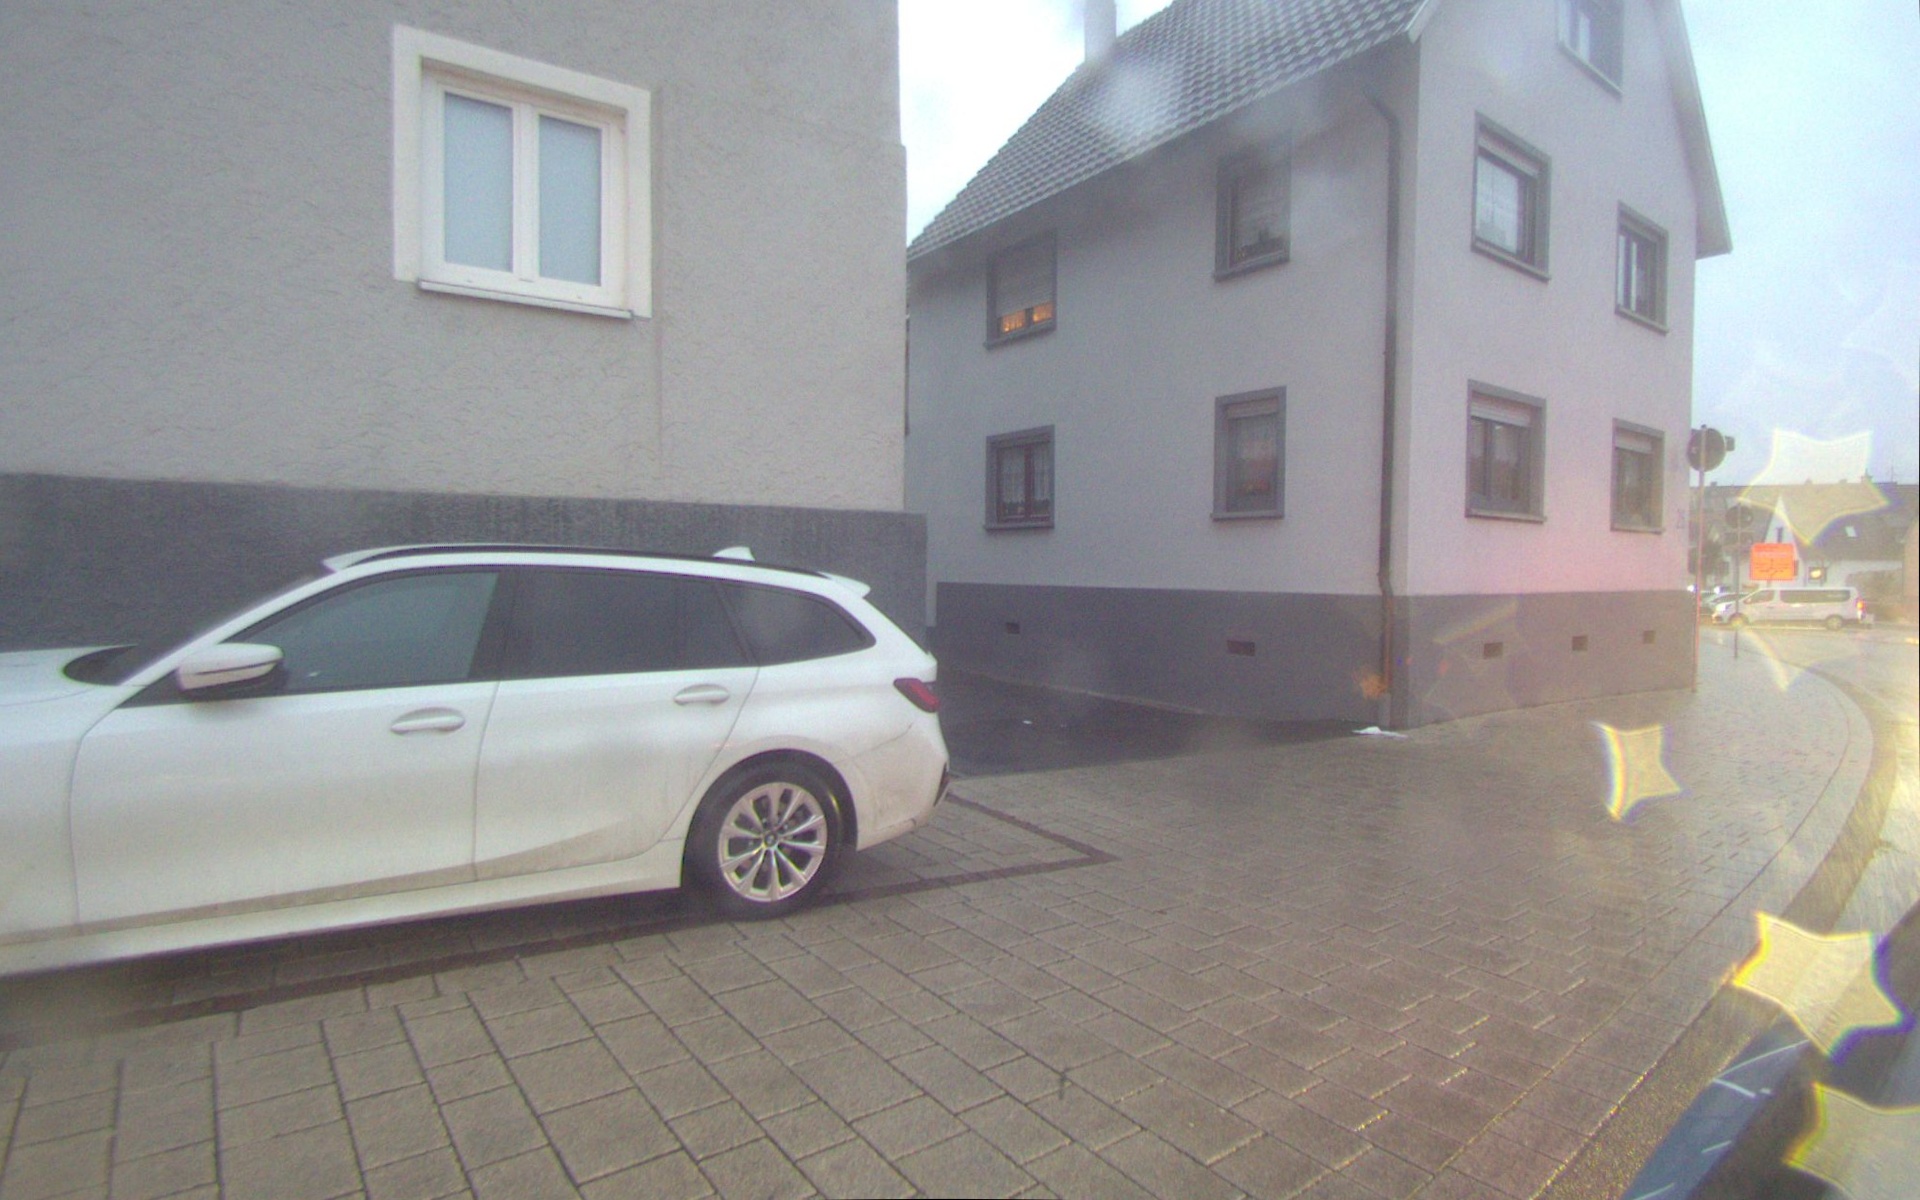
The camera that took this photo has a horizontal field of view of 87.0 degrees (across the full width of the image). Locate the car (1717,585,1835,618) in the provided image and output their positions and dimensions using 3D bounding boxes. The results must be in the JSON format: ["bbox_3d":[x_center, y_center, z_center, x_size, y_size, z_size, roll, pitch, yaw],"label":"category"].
[{"bbox_3d":[46.836,0.090,58.218,4.823,1.705,1.986,2,0,21],"label":"car"}]

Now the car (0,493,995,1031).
[{"bbox_3d":[-2.255,0.413,4.115,4.452,1.484,1.892,1,2,-31],"label":"car"}]

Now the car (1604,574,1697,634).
[{"bbox_3d":[24.855,0.112,36.616,1.959,1.984,4.810,2,1,25],"label":"car"}]

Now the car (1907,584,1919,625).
[{"bbox_3d":[41.504,0.244,40.720,4.393,1.652,2.142,1,2,20],"label":"car"}]

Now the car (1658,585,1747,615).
[{"bbox_3d":[49.474,-0.025,67.510,4.370,1.824,1.833,2,1,19],"label":"car"}]

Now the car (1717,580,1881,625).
[{"bbox_3d":[38.840,0.107,47.072,5.751,1.970,1.962,0,0,39],"label":"car"}]
